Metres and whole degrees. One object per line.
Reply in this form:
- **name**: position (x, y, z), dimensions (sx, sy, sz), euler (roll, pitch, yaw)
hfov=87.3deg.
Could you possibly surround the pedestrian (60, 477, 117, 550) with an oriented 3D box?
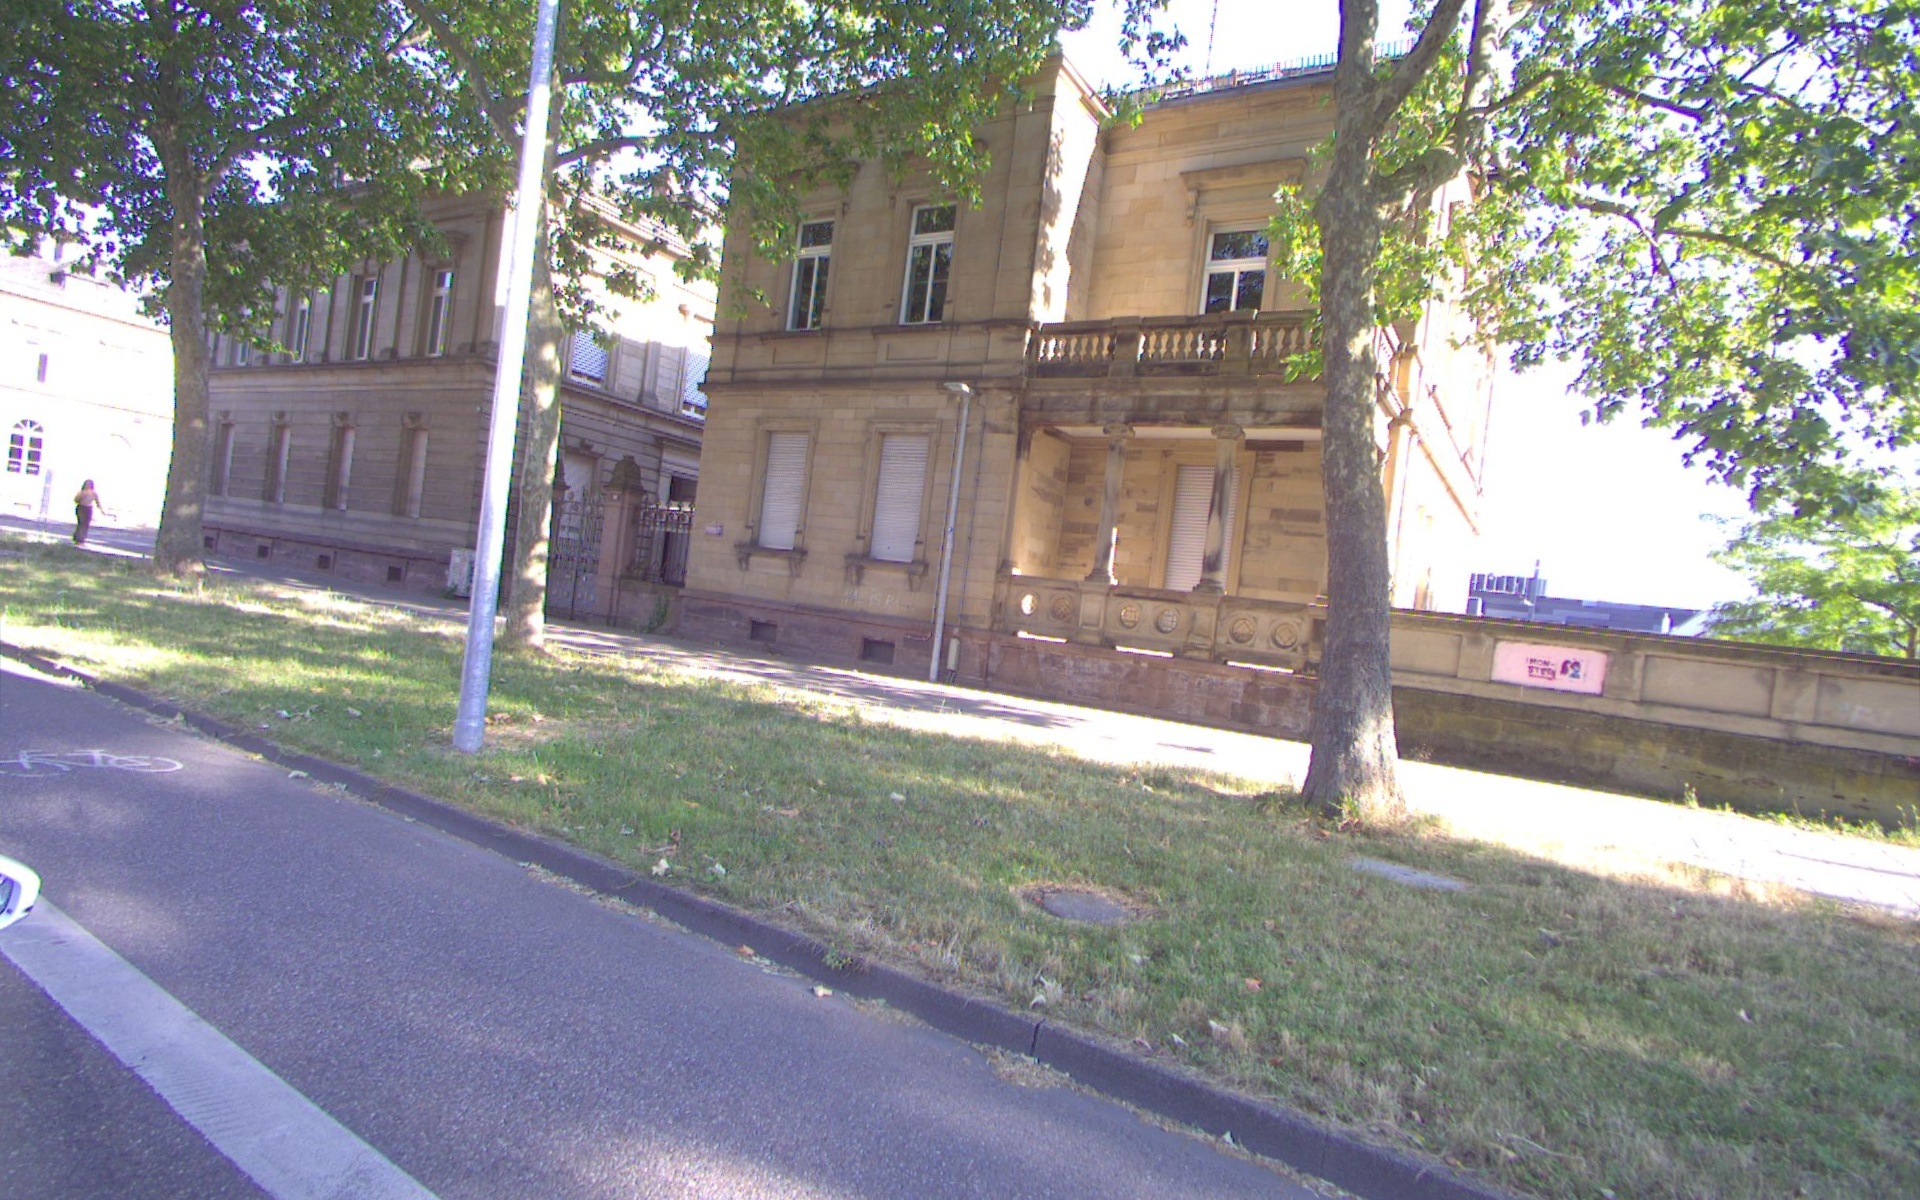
- **pedestrian**: position (-22.739, -2.255, 26.238), dimensions (1.025, 1.731, 0.770), euler (7, 1, 34)

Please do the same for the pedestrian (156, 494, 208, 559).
- **pedestrian**: position (-21.510, -2.032, 27.817), dimensions (0.970, 1.626, 0.770), euler (7, 1, 34)
